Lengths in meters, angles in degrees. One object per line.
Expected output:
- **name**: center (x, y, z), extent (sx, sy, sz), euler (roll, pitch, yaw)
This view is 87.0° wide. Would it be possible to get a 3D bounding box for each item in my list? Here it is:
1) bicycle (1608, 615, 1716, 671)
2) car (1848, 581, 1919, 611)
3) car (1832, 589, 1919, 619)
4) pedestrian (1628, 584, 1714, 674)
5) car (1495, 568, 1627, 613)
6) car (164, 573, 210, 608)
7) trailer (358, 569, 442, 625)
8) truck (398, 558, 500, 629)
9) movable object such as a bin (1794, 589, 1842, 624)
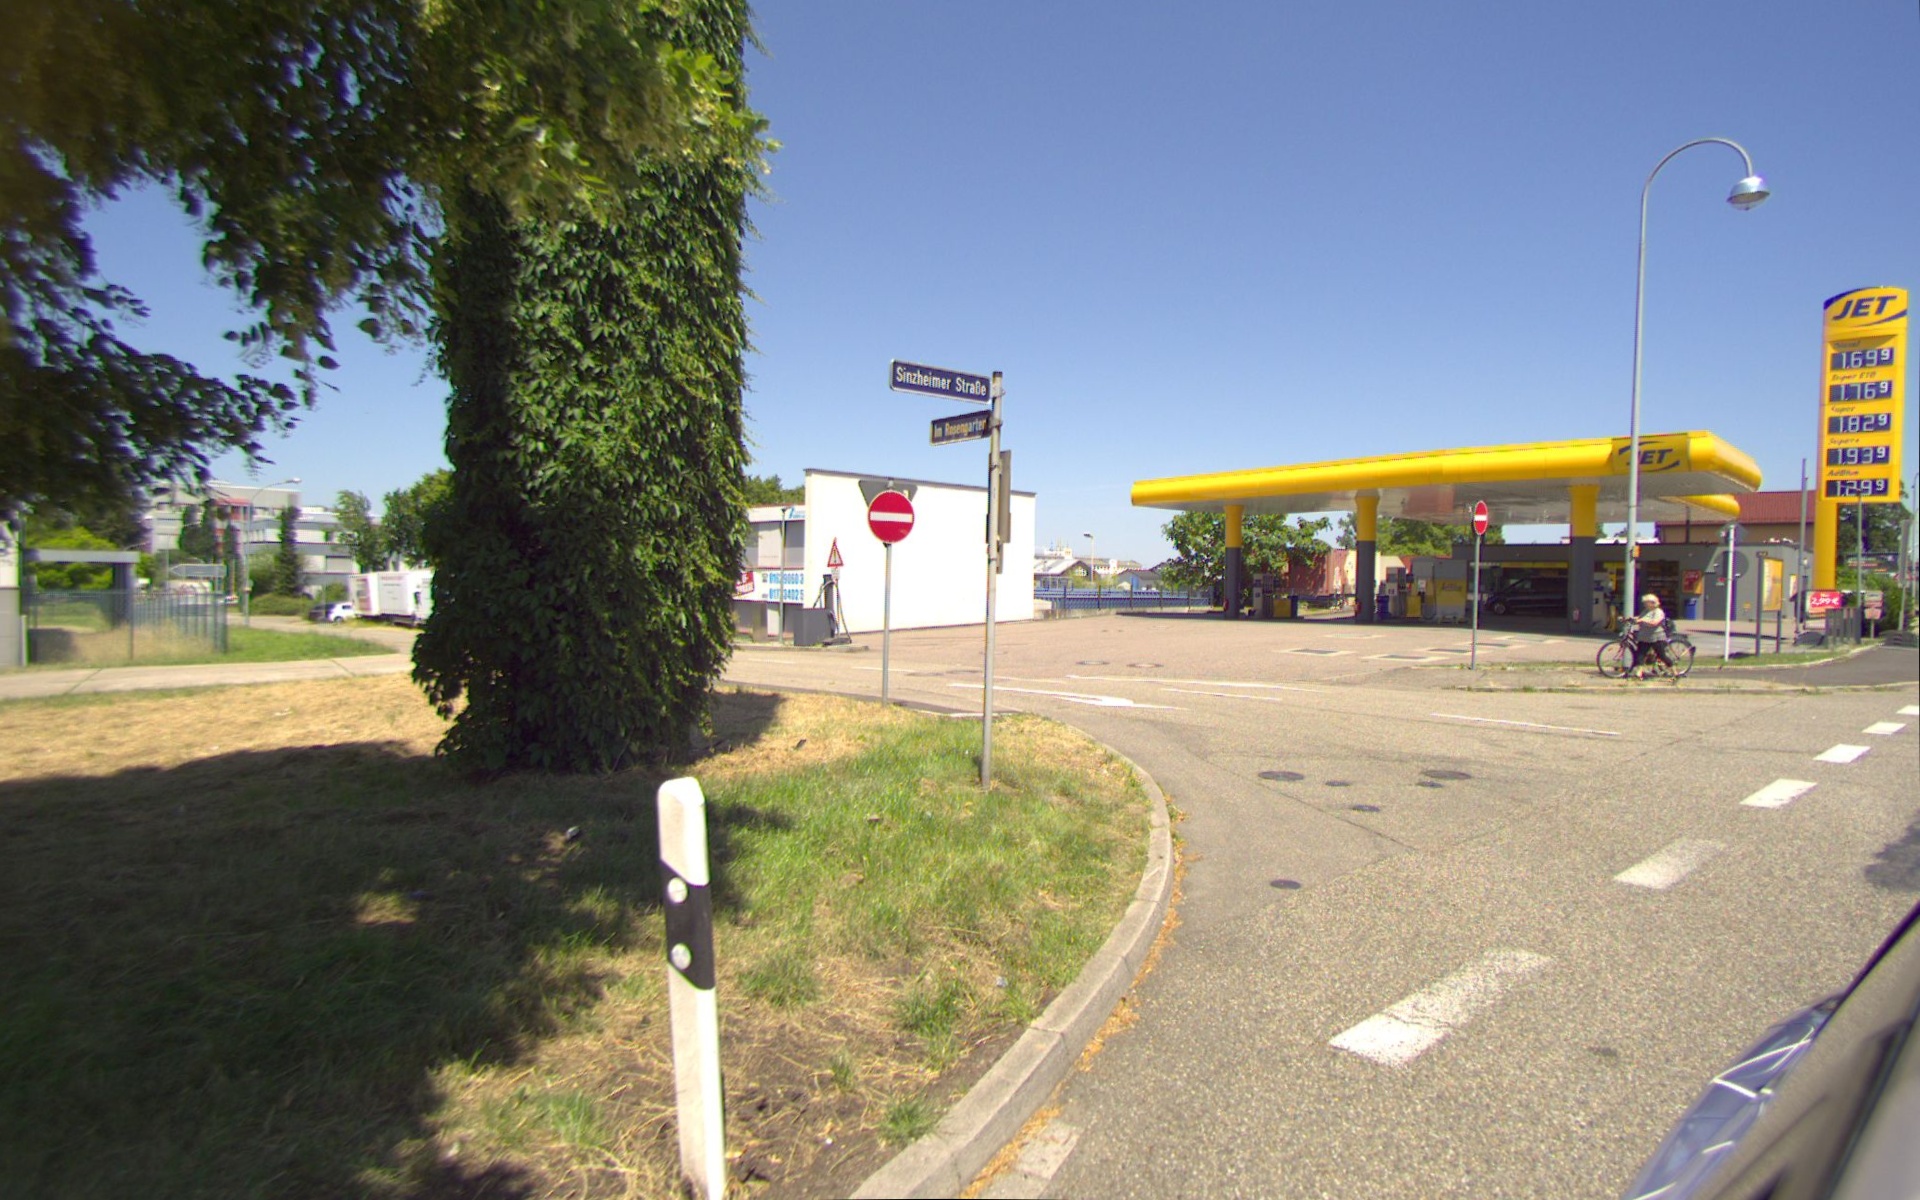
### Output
- **bicycle**: center (11.832, 0.723, 17.073), extent (1.567, 0.923, 0.379), euler (0, 0, -1)
- **car**: center (63.543, -0.251, 69.250), extent (4.129, 1.962, 1.782), euler (2, 1, 40)
- **car**: center (54.317, 0.219, 59.705), extent (4.226, 1.553, 1.927), euler (3, 2, 44)
- **pedestrian**: center (11.686, 0.461, 16.655), extent (0.851, 1.439, 0.772), euler (0, 0, -2)
- **car**: center (28.366, -0.470, 47.891), extent (1.966, 2.000, 5.056), euler (0, 1, -43)
- **car**: center (-77.091, -0.906, 100.827), extent (3.258, 3.348, 7.557), euler (0, 0, -41)
- **trailer**: center (-36.124, -0.220, 65.103), extent (8.478, 3.359, 2.434), euler (0, 1, 45)
- **truck**: center (-29.674, -0.412, 58.489), extent (2.525, 3.767, 9.455), euler (0, 1, -44)
- **movable object such as a bin**: center (37.438, 0.282, 44.159), extent (1.443, 1.455, 1.436), euler (0, 2, -44)
